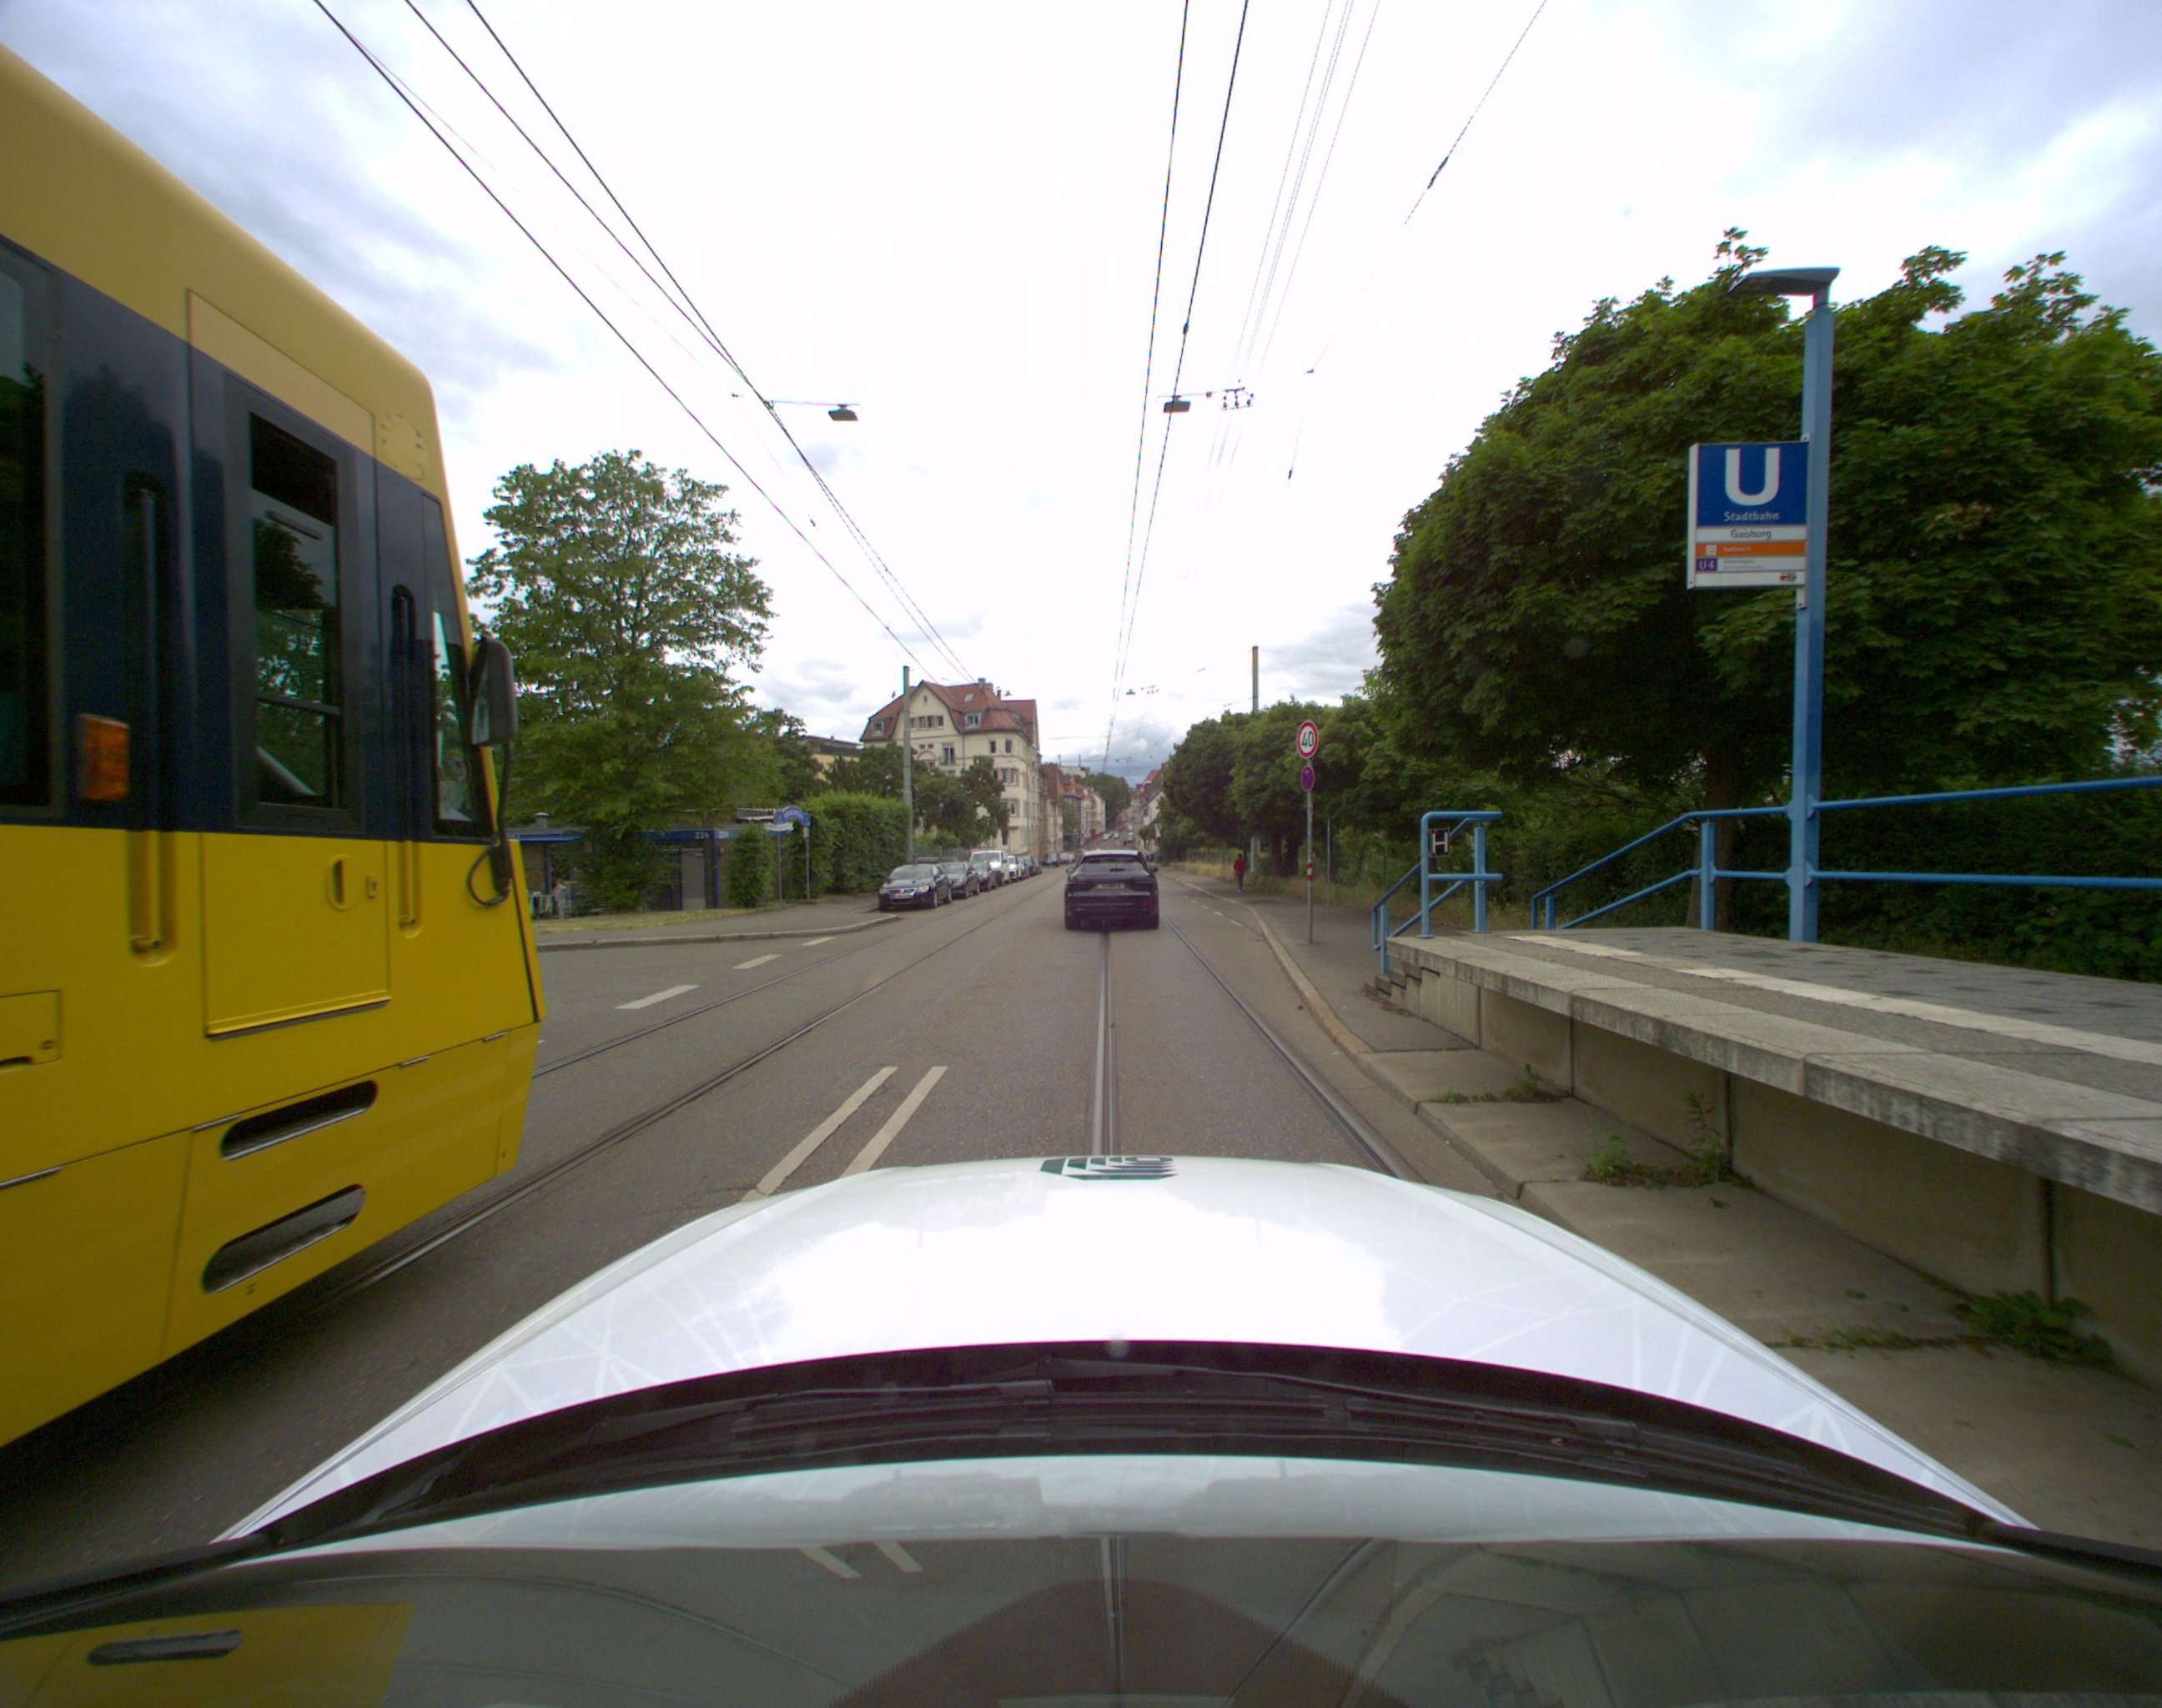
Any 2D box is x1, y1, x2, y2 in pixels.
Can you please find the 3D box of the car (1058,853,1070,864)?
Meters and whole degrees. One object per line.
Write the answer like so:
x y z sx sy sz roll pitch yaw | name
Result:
-2.476 0.645 118.345 1.615 1.463 4.033 -1 -1 1 | car

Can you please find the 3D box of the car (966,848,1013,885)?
-4.987 0.703 44.850 1.962 1.913 4.735 -1 -1 1 | car

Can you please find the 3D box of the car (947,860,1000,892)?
-5.063 1.027 38.869 1.833 1.387 4.518 -1 -1 1 | car

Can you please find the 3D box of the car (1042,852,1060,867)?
-3.410 0.672 93.573 1.861 1.646 4.402 -1 -1 1 | car

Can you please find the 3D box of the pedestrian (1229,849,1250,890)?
6.454 0.631 33.199 0.712 1.621 0.719 0 -1 2 | pedestrian

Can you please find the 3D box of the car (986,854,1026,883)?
-4.625 0.888 50.692 1.962 1.686 4.633 -1 -1 1 | car

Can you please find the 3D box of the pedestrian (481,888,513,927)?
-16.433 1.500 22.900 0.669 1.064 0.477 0 -1 -44 | pedestrian

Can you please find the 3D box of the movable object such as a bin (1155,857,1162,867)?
9.715 0.980 101.679 0.790 1.218 0.788 0 -1 -2 | movable object such as a bin

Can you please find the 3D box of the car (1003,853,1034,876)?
-4.747 0.806 62.384 1.962 1.686 4.444 -1 -1 1 | car

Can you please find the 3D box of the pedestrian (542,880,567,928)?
-15.255 1.431 23.609 0.522 1.342 0.477 0 -1 -44 | pedestrian

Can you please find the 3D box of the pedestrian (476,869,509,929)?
-16.855 1.278 23.322 0.669 1.664 0.614 0 -1 -44 | pedestrian

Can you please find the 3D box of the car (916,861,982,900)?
-5.172 1.020 32.487 1.833 1.387 4.440 -1 -1 1 | car

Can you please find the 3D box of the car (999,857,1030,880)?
-4.510 0.984 56.075 1.732 1.509 3.869 -1 -1 1 | car

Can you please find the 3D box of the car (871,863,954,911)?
-5.429 1.044 26.770 1.784 1.404 4.161 -1 -1 1 | car

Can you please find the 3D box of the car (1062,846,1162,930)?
0.684 0.695 18.246 1.986 1.676 4.001 0 -1 2 | car

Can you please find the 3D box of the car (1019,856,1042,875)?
-4.217 0.986 68.958 1.615 1.477 4.156 -1 -1 1 | car
